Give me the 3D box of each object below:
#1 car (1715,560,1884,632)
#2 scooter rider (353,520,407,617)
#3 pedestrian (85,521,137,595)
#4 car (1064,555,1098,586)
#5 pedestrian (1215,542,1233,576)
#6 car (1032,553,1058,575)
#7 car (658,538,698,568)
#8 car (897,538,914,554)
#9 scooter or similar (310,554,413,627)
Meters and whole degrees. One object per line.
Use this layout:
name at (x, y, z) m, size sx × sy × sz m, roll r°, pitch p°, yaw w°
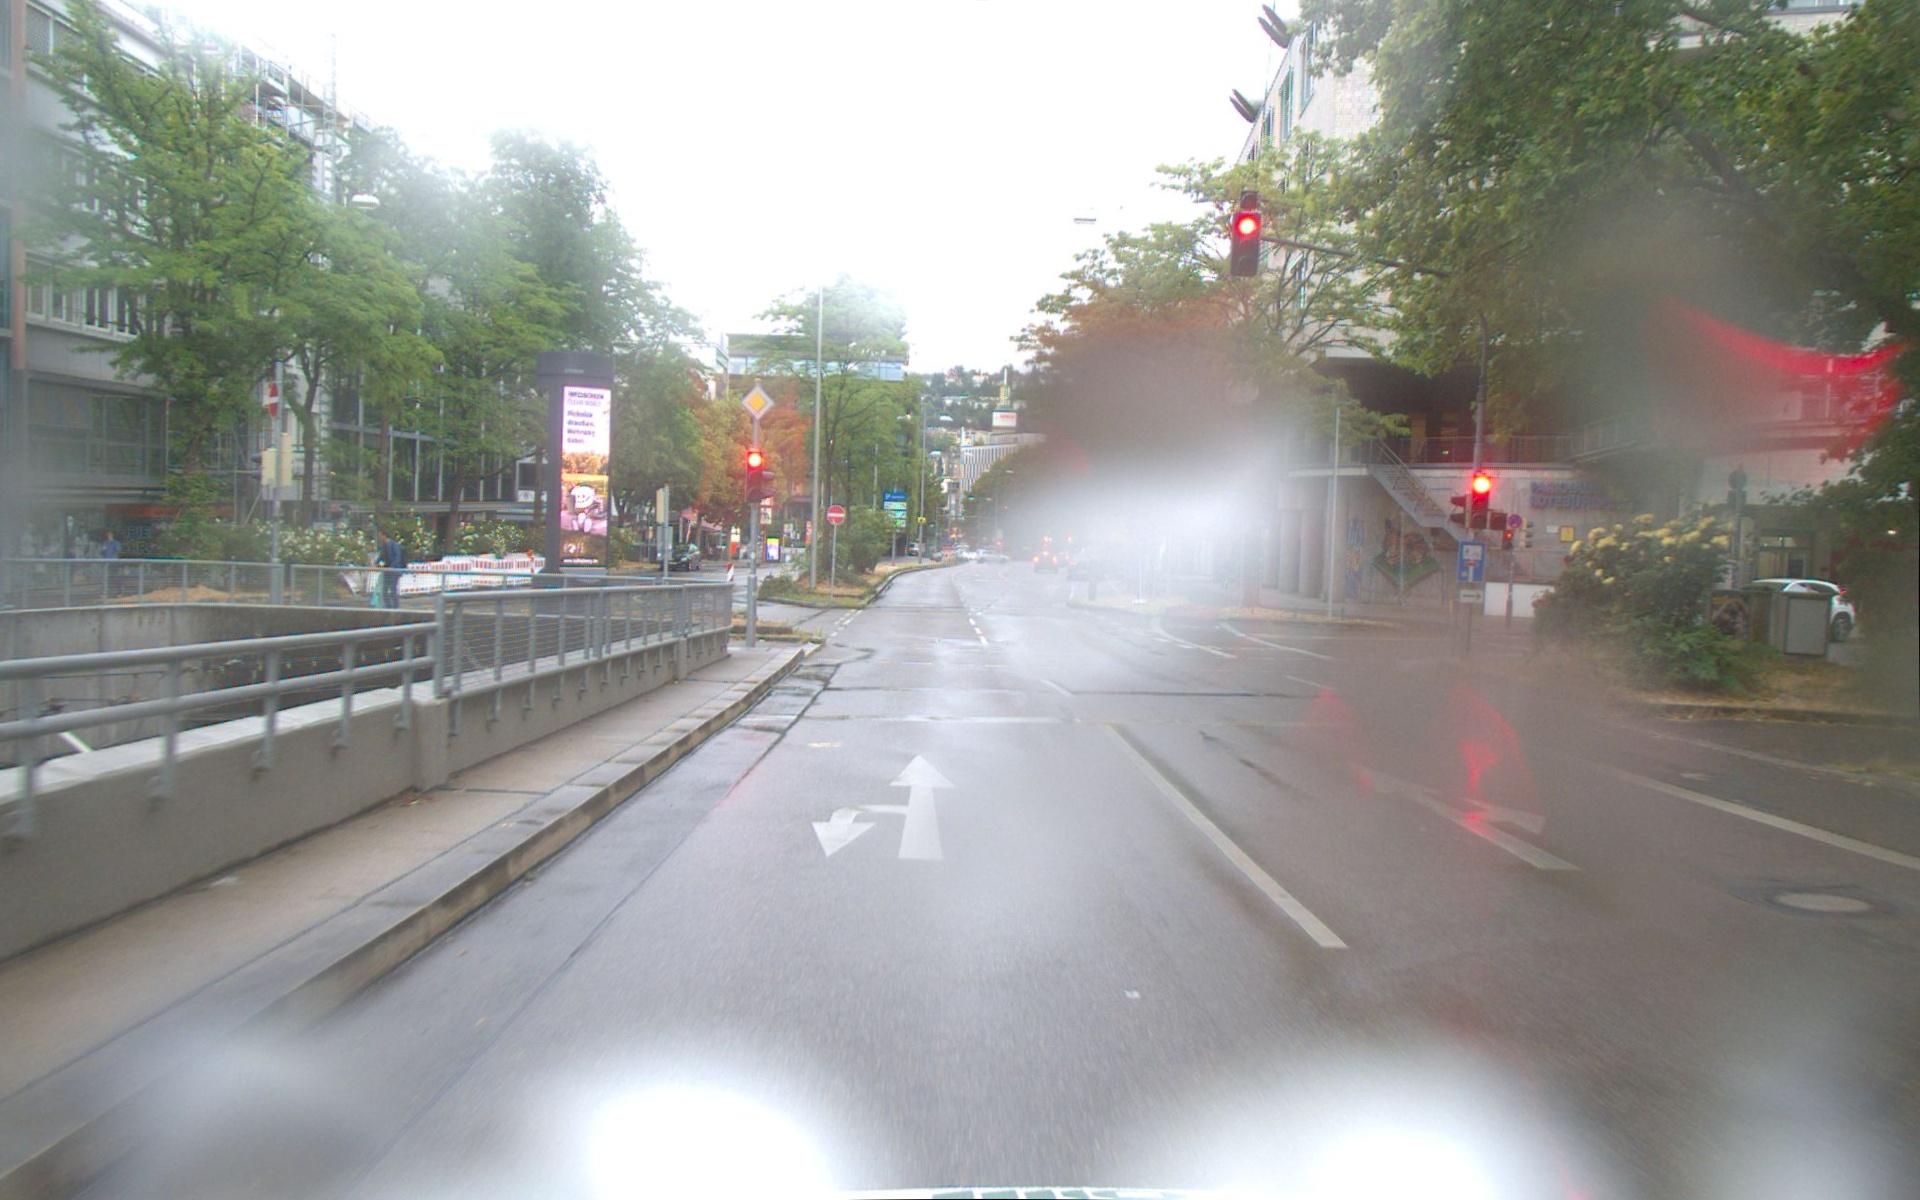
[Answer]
car at (22.282, -0.102, 43.899) m, size 4.289 × 1.713 × 1.737 m, roll 2°, pitch 1°, yaw -26°
scooter rider at (-12.231, -0.668, 34.880) m, size 0.803 × 1.982 × 0.811 m, roll 2°, pitch 1°, yaw -3°
pedestrian at (-22.660, -1.119, 44.160) m, size 0.859 × 1.900 × 0.867 m, roll 3°, pitch 1°, yaw -1°
car at (7.143, -1.728, 97.880) m, size 1.862 × 1.713 × 3.913 m, roll 2°, pitch 1°, yaw 3°
pedestrian at (12.819, -1.984, 80.312) m, size 0.769 × 1.584 × 0.533 m, roll 3°, pitch 1°, yaw 5°
car at (6.476, -2.758, 126.591) m, size 1.710 × 1.545 × 4.106 m, roll 2°, pitch 1°, yaw -1°
car at (-16.527, -2.771, 97.094) m, size 1.744 × 1.582 × 3.893 m, roll 2°, pitch 3°, yaw -2°
car at (-7.896, -7.826, 238.832) m, size 2.084 × 2.202 × 5.199 m, roll 2°, pitch 1°, yaw 2°
scooter or similar at (-12.591, -0.207, 34.821) m, size 1.910 × 1.443 × 0.547 m, roll 2°, pitch 1°, yaw -4°
